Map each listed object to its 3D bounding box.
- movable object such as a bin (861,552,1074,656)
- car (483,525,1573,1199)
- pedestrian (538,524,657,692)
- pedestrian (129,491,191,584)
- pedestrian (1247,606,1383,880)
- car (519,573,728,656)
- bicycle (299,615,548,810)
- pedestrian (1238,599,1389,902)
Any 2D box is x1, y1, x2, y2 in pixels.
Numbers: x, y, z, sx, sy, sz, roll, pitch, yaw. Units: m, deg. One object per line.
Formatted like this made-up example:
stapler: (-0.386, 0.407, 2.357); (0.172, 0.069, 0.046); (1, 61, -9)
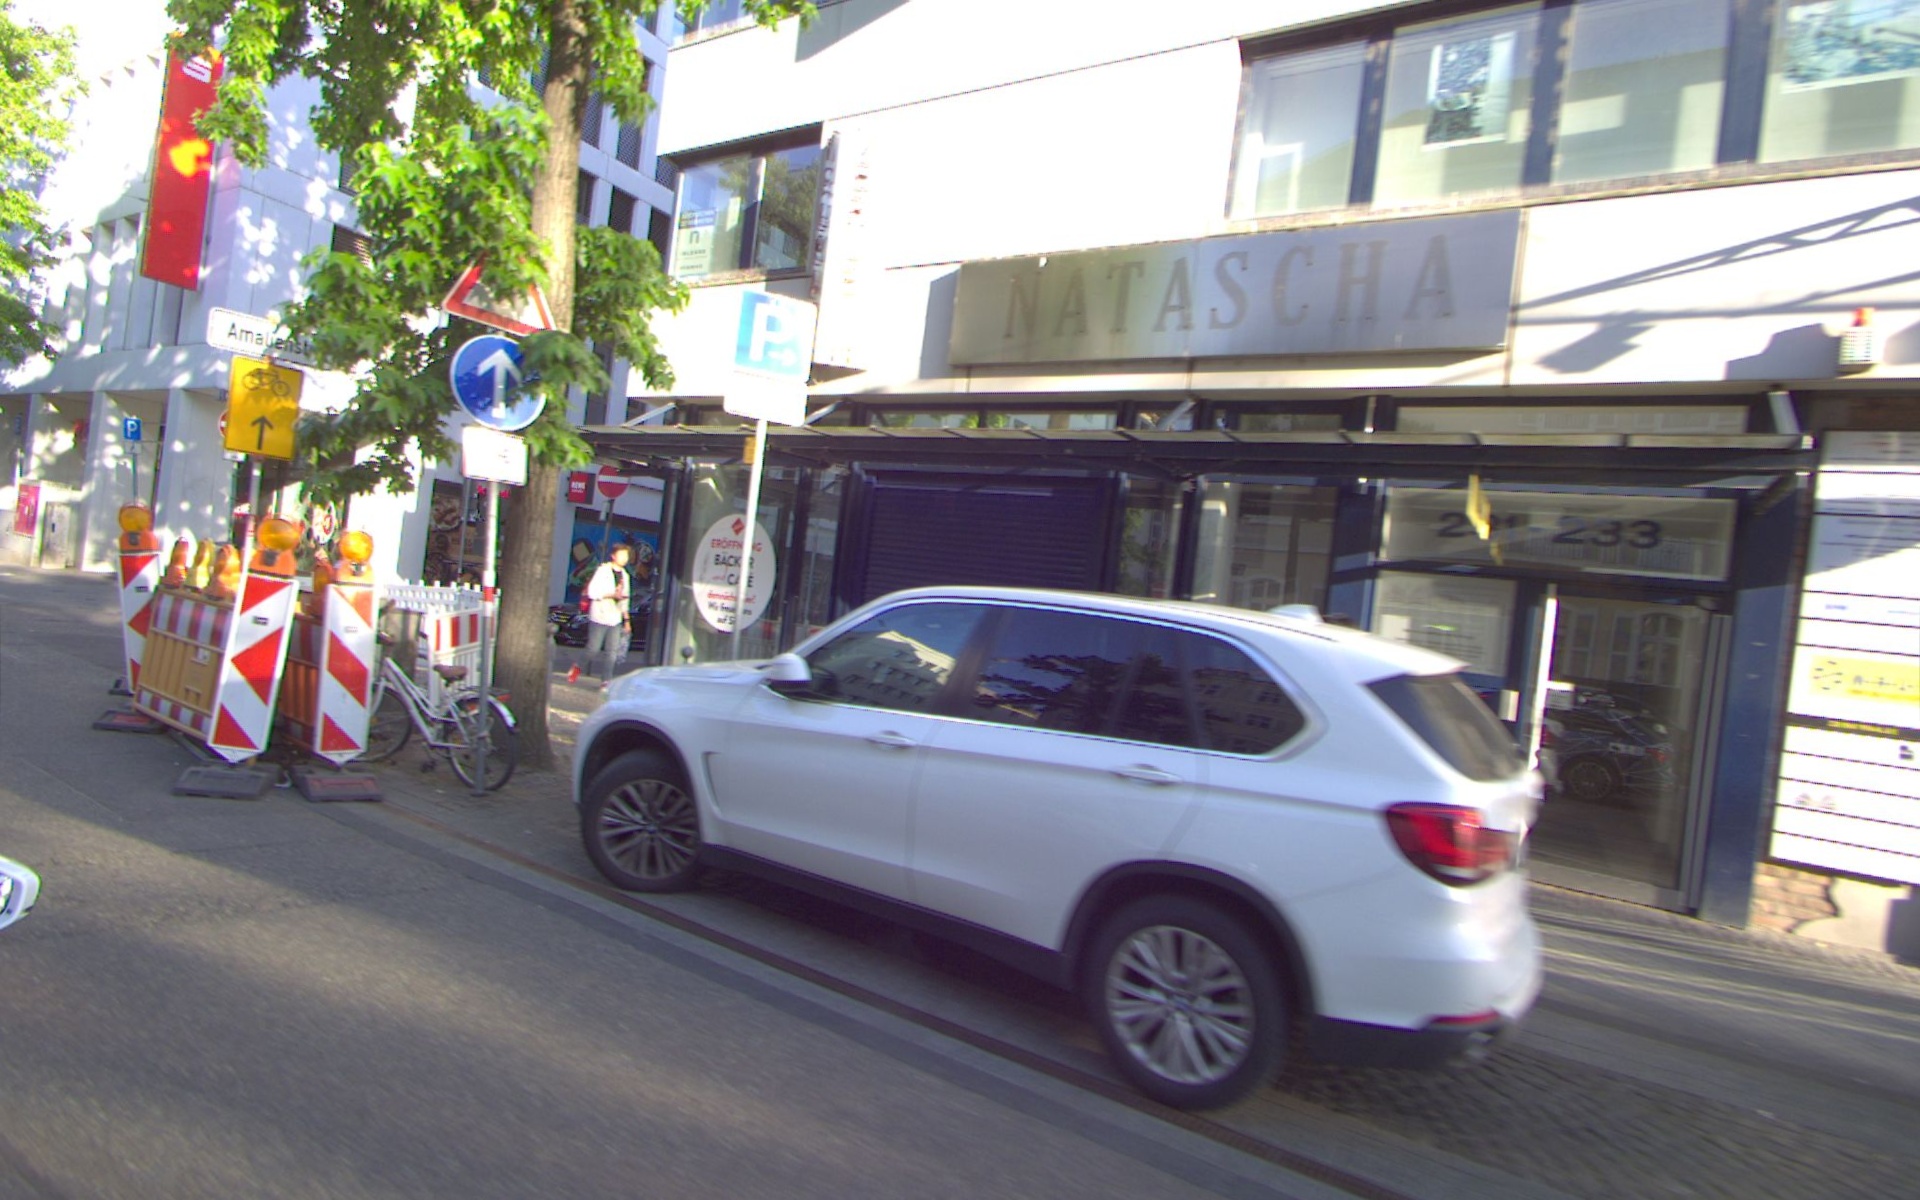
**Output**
movable object such as a bin: (0.443, 0.224, 39.034); (8.148, 2.944, 2.794); (8, -1, -40)
car: (0.095, 0.757, 4.993); (4.824, 1.760, 2.024); (7, 2, 31)
pedestrian: (-4.425, 0.105, 12.302); (0.903, 1.921, 0.834); (7, 1, 35)
pedestrian: (-16.662, -1.287, 20.958); (0.746, 1.842, 0.798); (4, 2, -25)
pedestrian: (2.640, 1.026, 7.459); (0.624, 1.853, 0.689); (7, 0, 32)
car: (-7.482, 0.381, 22.808); (1.767, 1.435, 4.324); (5, -2, 30)
bicycle: (-3.679, 0.714, 6.833); (1.898, 0.993, 0.494); (7, 0, 30)
pedestrian: (2.389, 0.974, 6.764); (0.624, 1.853, 0.706); (7, 0, 32)
